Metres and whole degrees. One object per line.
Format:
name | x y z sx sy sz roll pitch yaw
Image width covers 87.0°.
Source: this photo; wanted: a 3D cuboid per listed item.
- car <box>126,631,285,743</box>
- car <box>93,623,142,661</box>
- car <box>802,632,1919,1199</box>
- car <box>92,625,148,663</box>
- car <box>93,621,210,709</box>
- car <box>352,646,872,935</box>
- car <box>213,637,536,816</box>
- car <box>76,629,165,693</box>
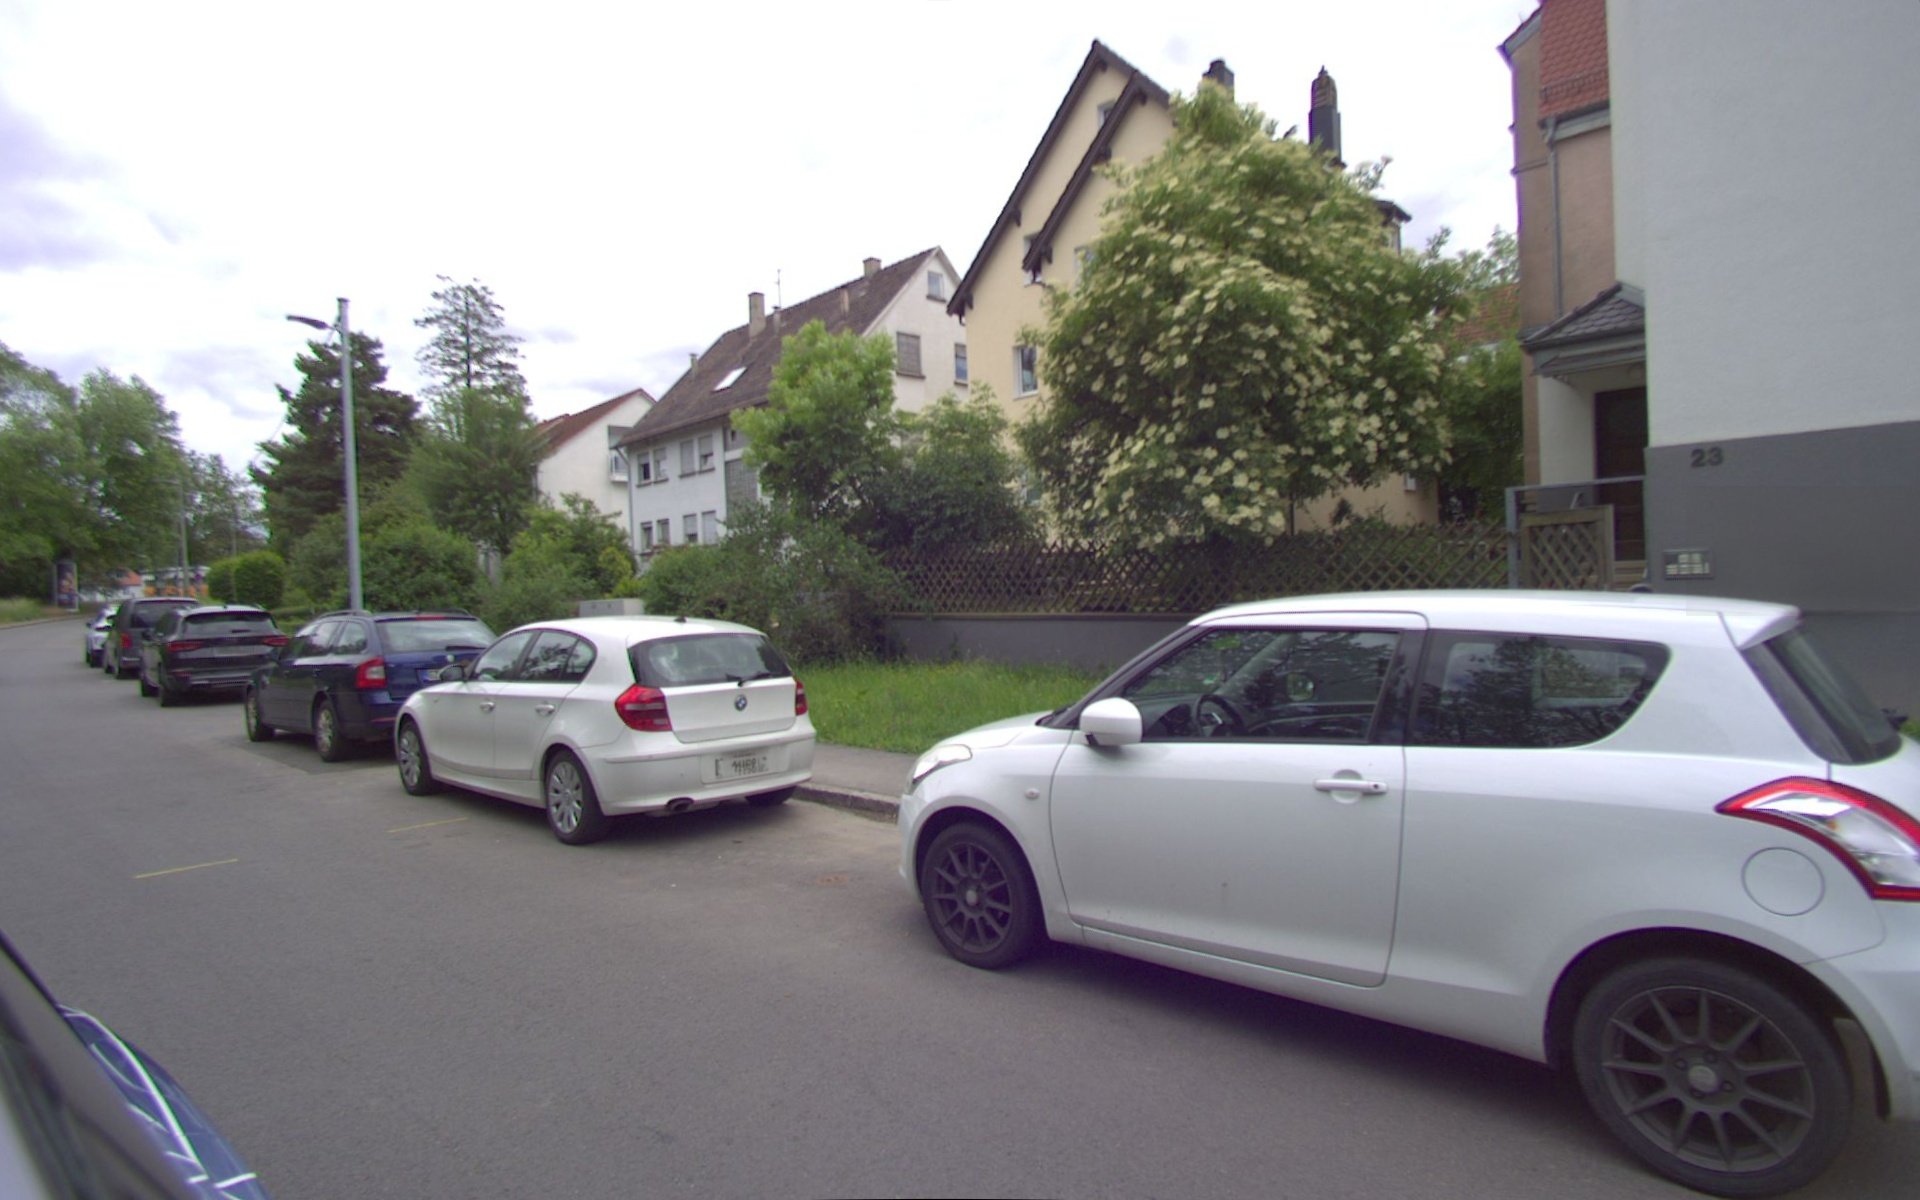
car | -12.996 1.375 17.346 1.642 1.594 4.080 0 -1 -45
car | -37.254 1.824 44.815 1.581 1.541 3.594 0 -1 -39
car | 1.353 0.899 3.835 4.069 1.481 1.625 -2 -2 41
car | -34.454 1.774 41.528 1.710 1.439 3.463 0 0 -40
car | -18.924 1.431 23.631 1.775 1.814 4.067 0 -1 -44
car | -2.906 1.137 7.739 4.725 1.400 1.706 -1 0 42
car | -6.744 1.228 11.404 4.812 1.585 1.709 -2 -2 41
car | -22.740 1.592 27.366 1.641 1.517 4.049 0 -1 -43
